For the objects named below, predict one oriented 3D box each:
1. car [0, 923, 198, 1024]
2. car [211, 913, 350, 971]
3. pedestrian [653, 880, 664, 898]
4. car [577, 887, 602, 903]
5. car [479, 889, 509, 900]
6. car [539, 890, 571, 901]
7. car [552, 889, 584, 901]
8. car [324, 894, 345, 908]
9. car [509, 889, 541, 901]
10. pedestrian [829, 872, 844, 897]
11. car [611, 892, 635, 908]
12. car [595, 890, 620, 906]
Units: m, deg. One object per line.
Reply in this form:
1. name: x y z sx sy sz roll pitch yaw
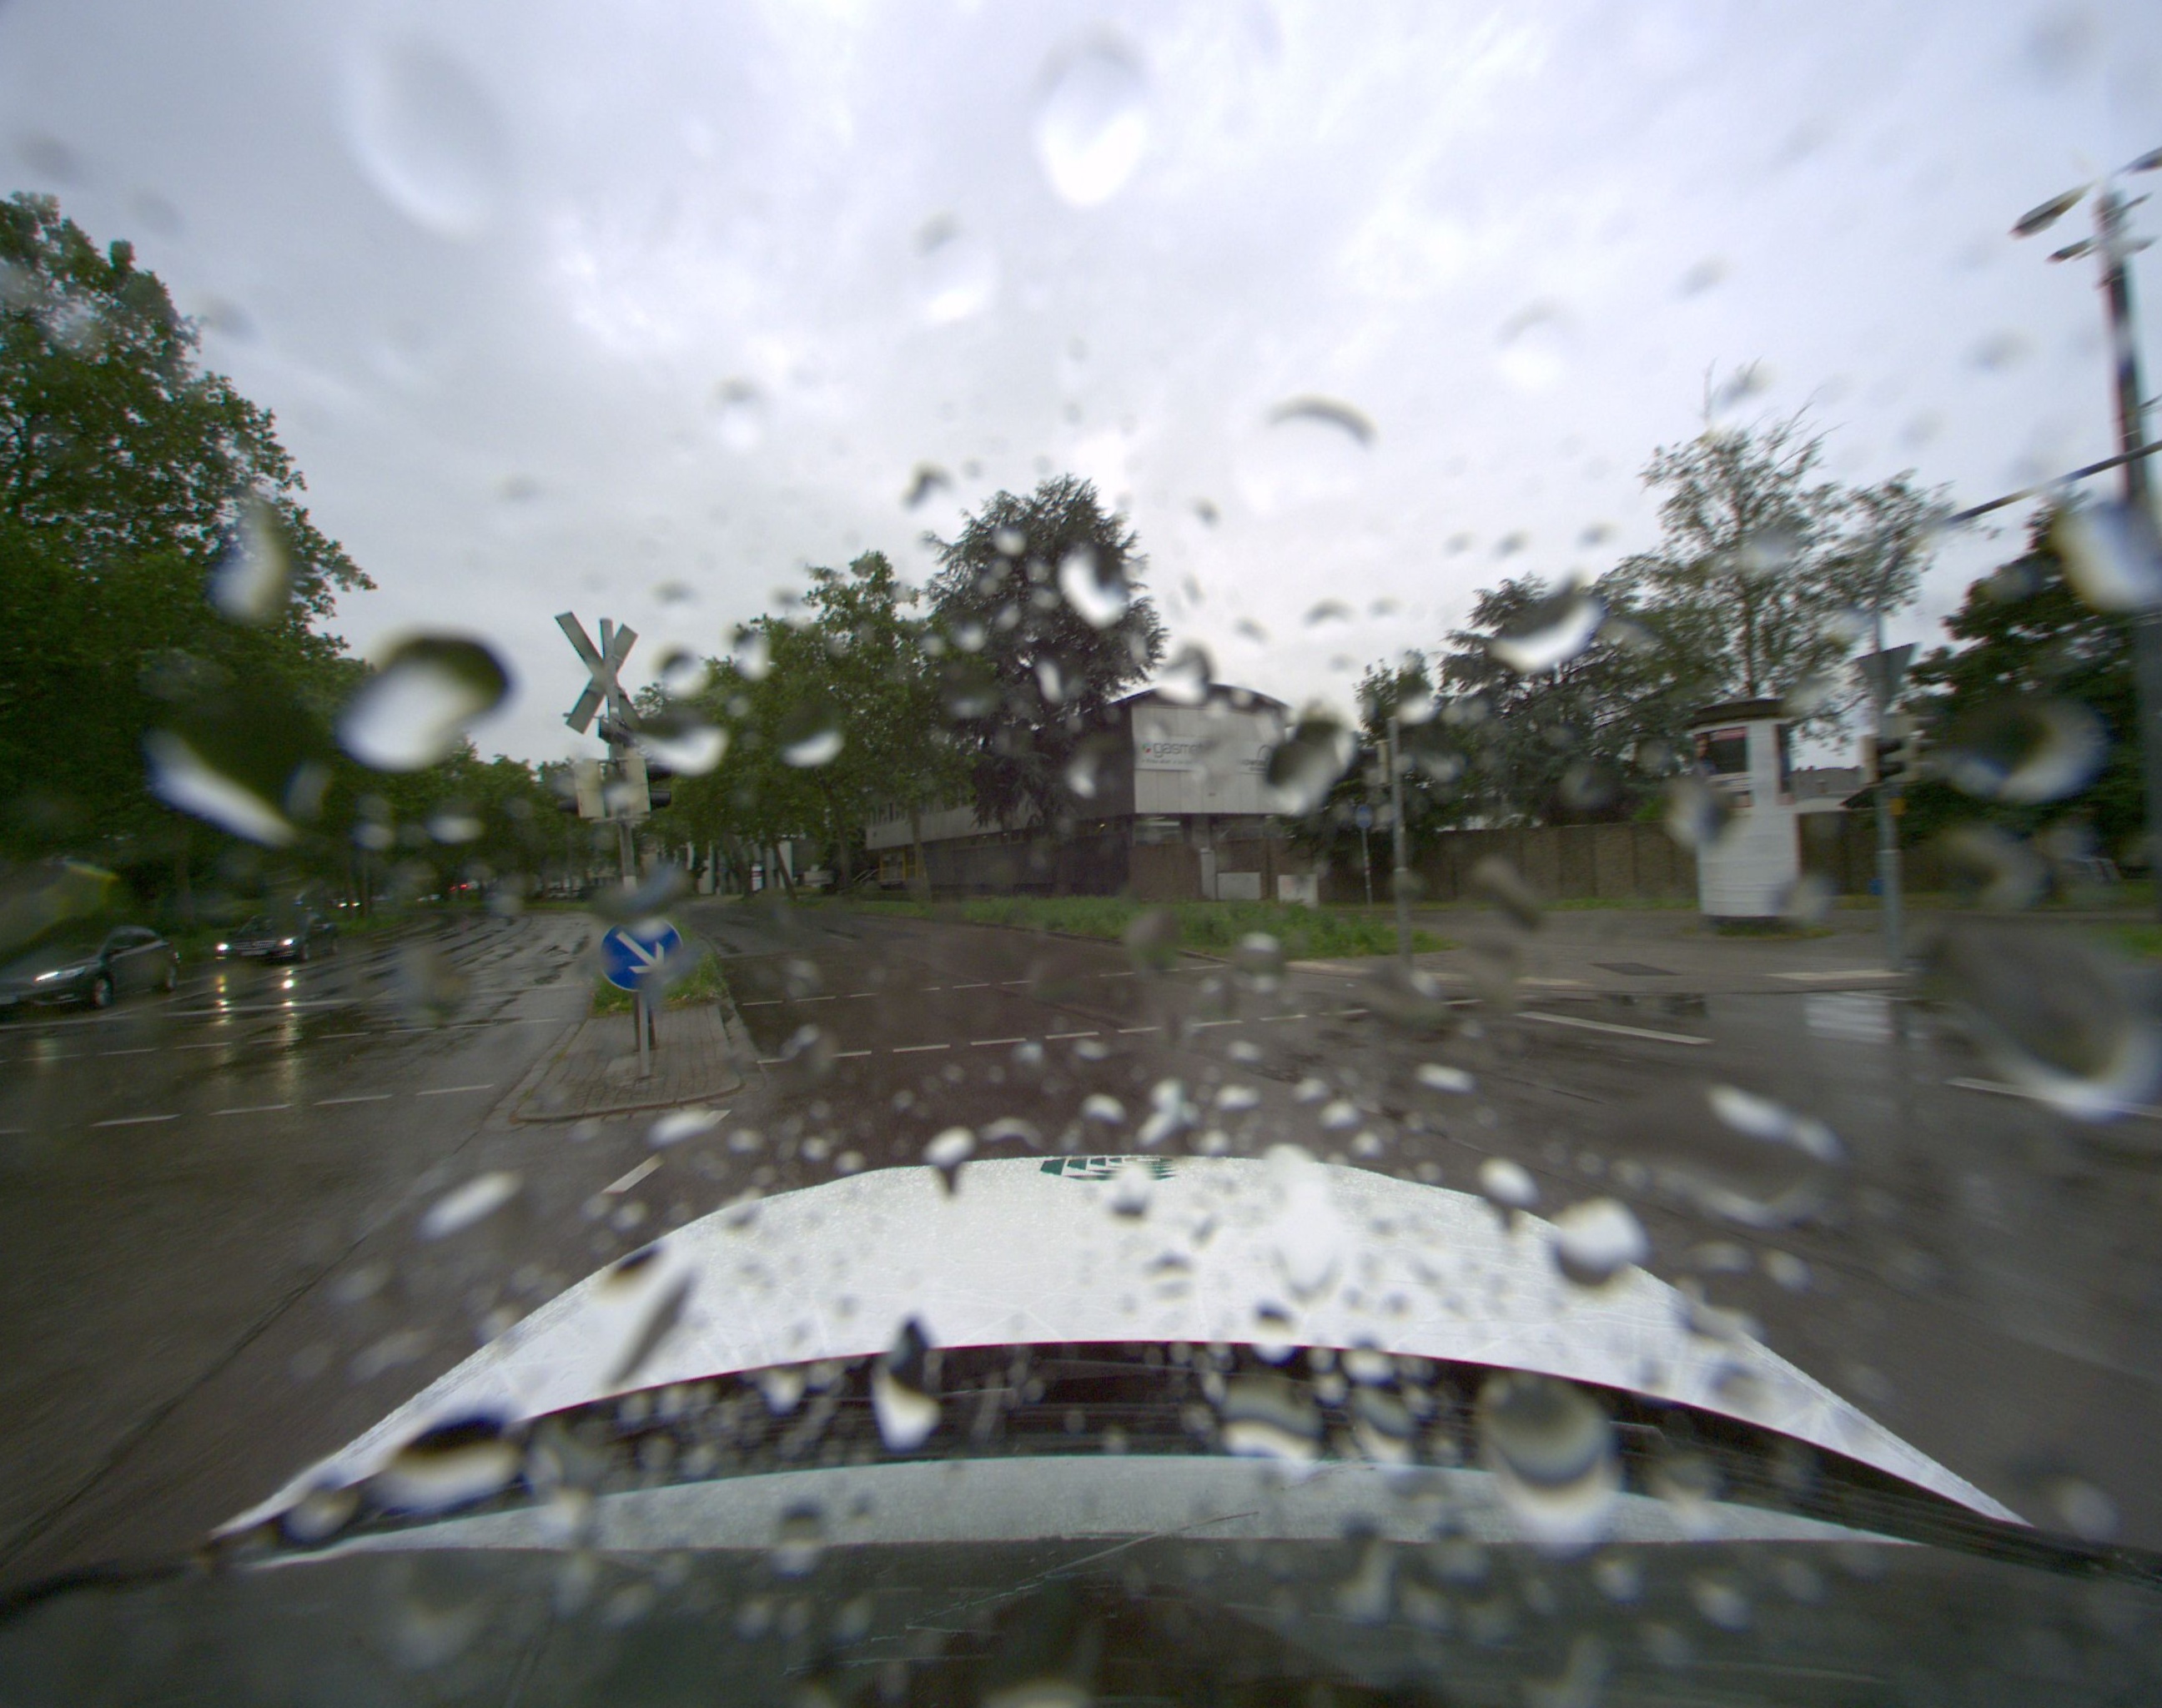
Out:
1. car: -18.304 2.103 14.786 1.811 1.401 4.271 -4 -1 -30
2. car: -23.464 2.505 24.061 1.810 1.407 4.416 -2 -3 -29
3. pedestrian: -46.780 3.882 90.188 0.703 1.950 0.859 -2 0 7
4. car: -69.298 5.789 114.842 2.141 2.088 3.951 -2 0 -44
5. car: -107.283 7.416 148.794 1.974 1.820 4.026 -2 0 36
6. car: -84.427 6.661 130.827 1.863 1.493 3.905 -2 0 36
7. car: -81.086 6.484 128.798 1.864 1.651 3.904 -2 0 41
8. car: -114.880 7.240 125.310 3.949 2.013 2.000 -2 0 41
9. car: -95.602 7.072 140.118 1.974 1.831 4.026 -2 0 33
10. pedestrian: -16.844 2.061 56.036 0.676 1.668 0.815 -2 0 -38
11. car: -56.783 5.654 100.886 2.009 1.783 3.955 -2 0 -37
12. car: -61.661 5.728 106.031 2.011 1.783 3.952 -2 0 -42
